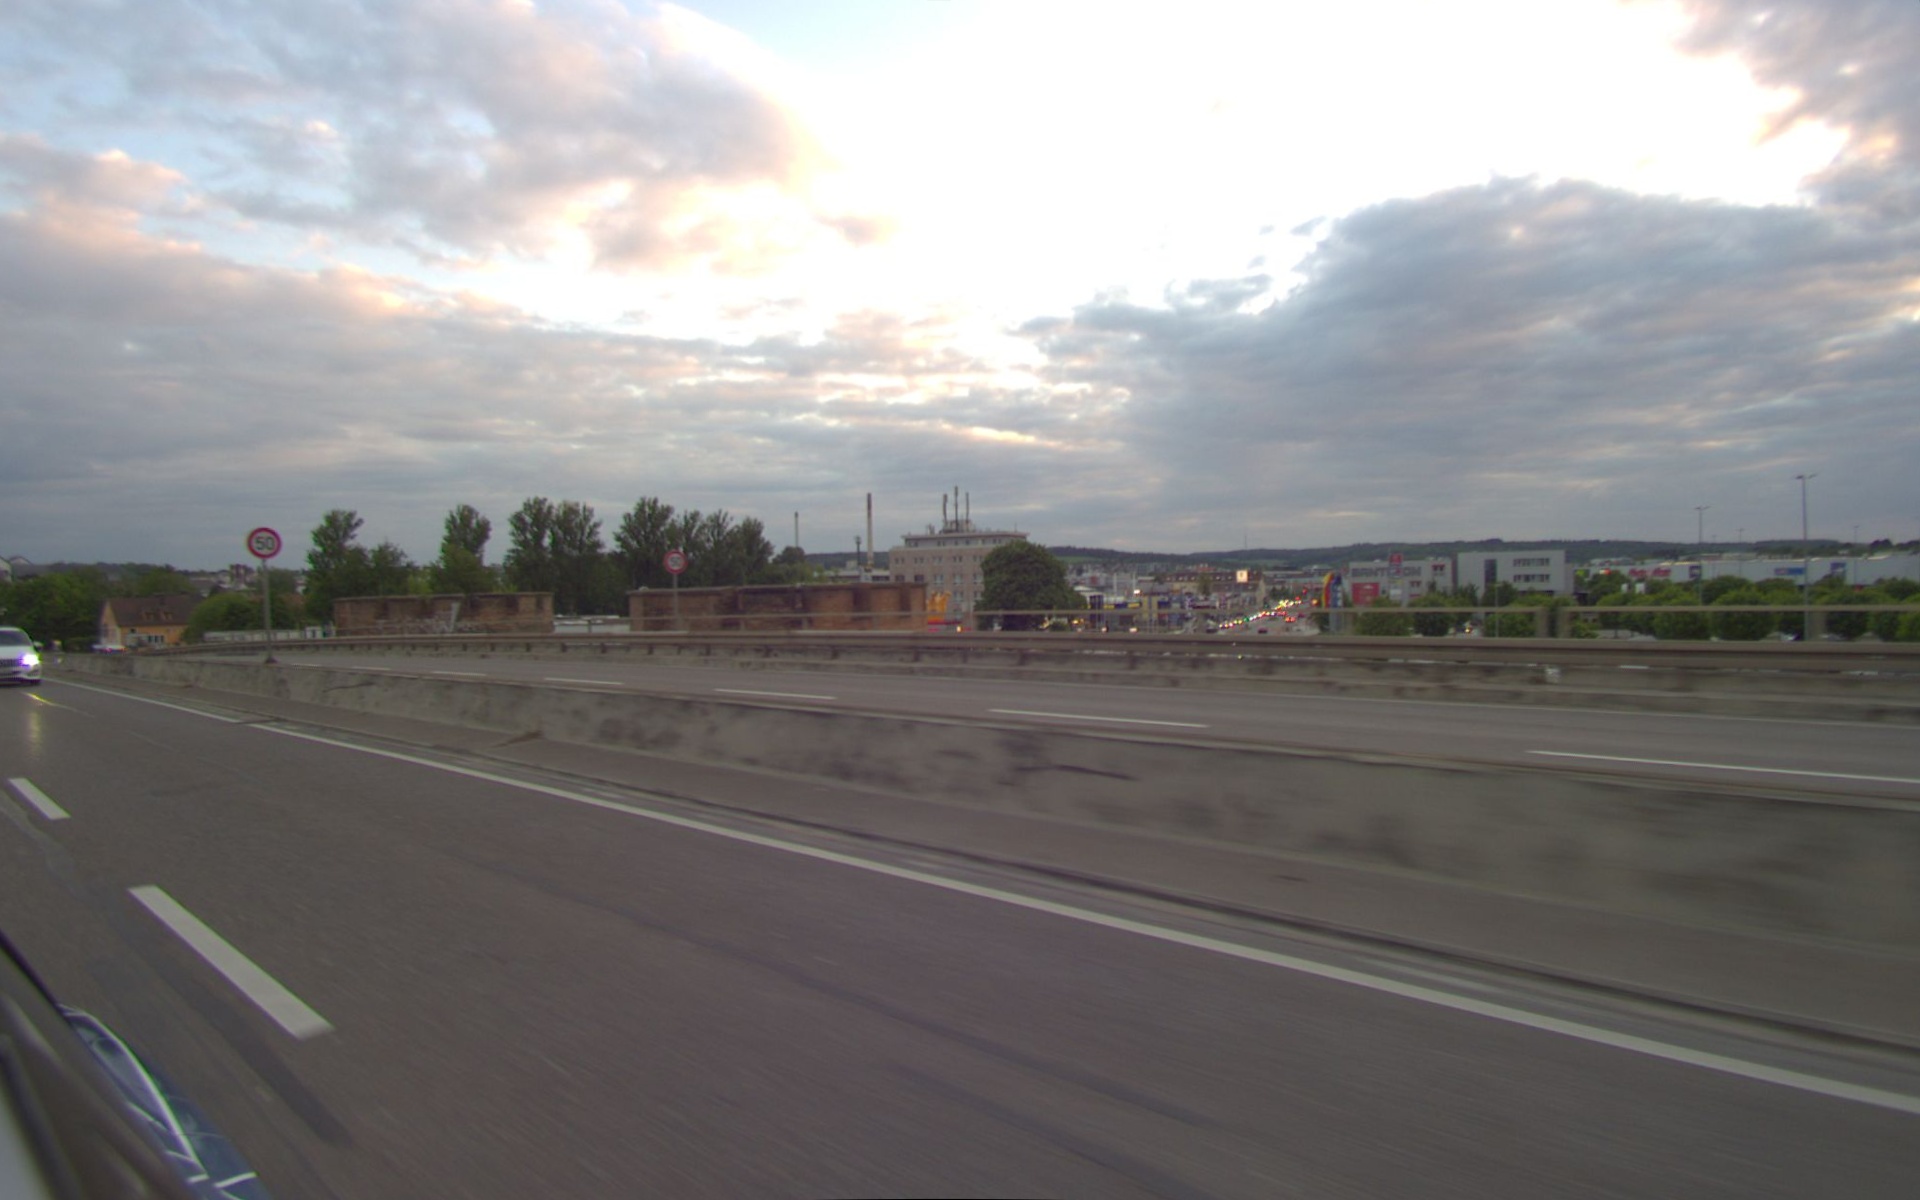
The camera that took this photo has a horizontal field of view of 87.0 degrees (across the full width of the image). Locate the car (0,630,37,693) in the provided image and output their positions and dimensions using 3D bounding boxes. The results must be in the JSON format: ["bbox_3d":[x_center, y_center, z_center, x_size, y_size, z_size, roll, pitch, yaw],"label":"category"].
[{"bbox_3d":[-26.078,1.635,27.085,4.784,1.548,1.672,-2,-1,44],"label":"car"}]
